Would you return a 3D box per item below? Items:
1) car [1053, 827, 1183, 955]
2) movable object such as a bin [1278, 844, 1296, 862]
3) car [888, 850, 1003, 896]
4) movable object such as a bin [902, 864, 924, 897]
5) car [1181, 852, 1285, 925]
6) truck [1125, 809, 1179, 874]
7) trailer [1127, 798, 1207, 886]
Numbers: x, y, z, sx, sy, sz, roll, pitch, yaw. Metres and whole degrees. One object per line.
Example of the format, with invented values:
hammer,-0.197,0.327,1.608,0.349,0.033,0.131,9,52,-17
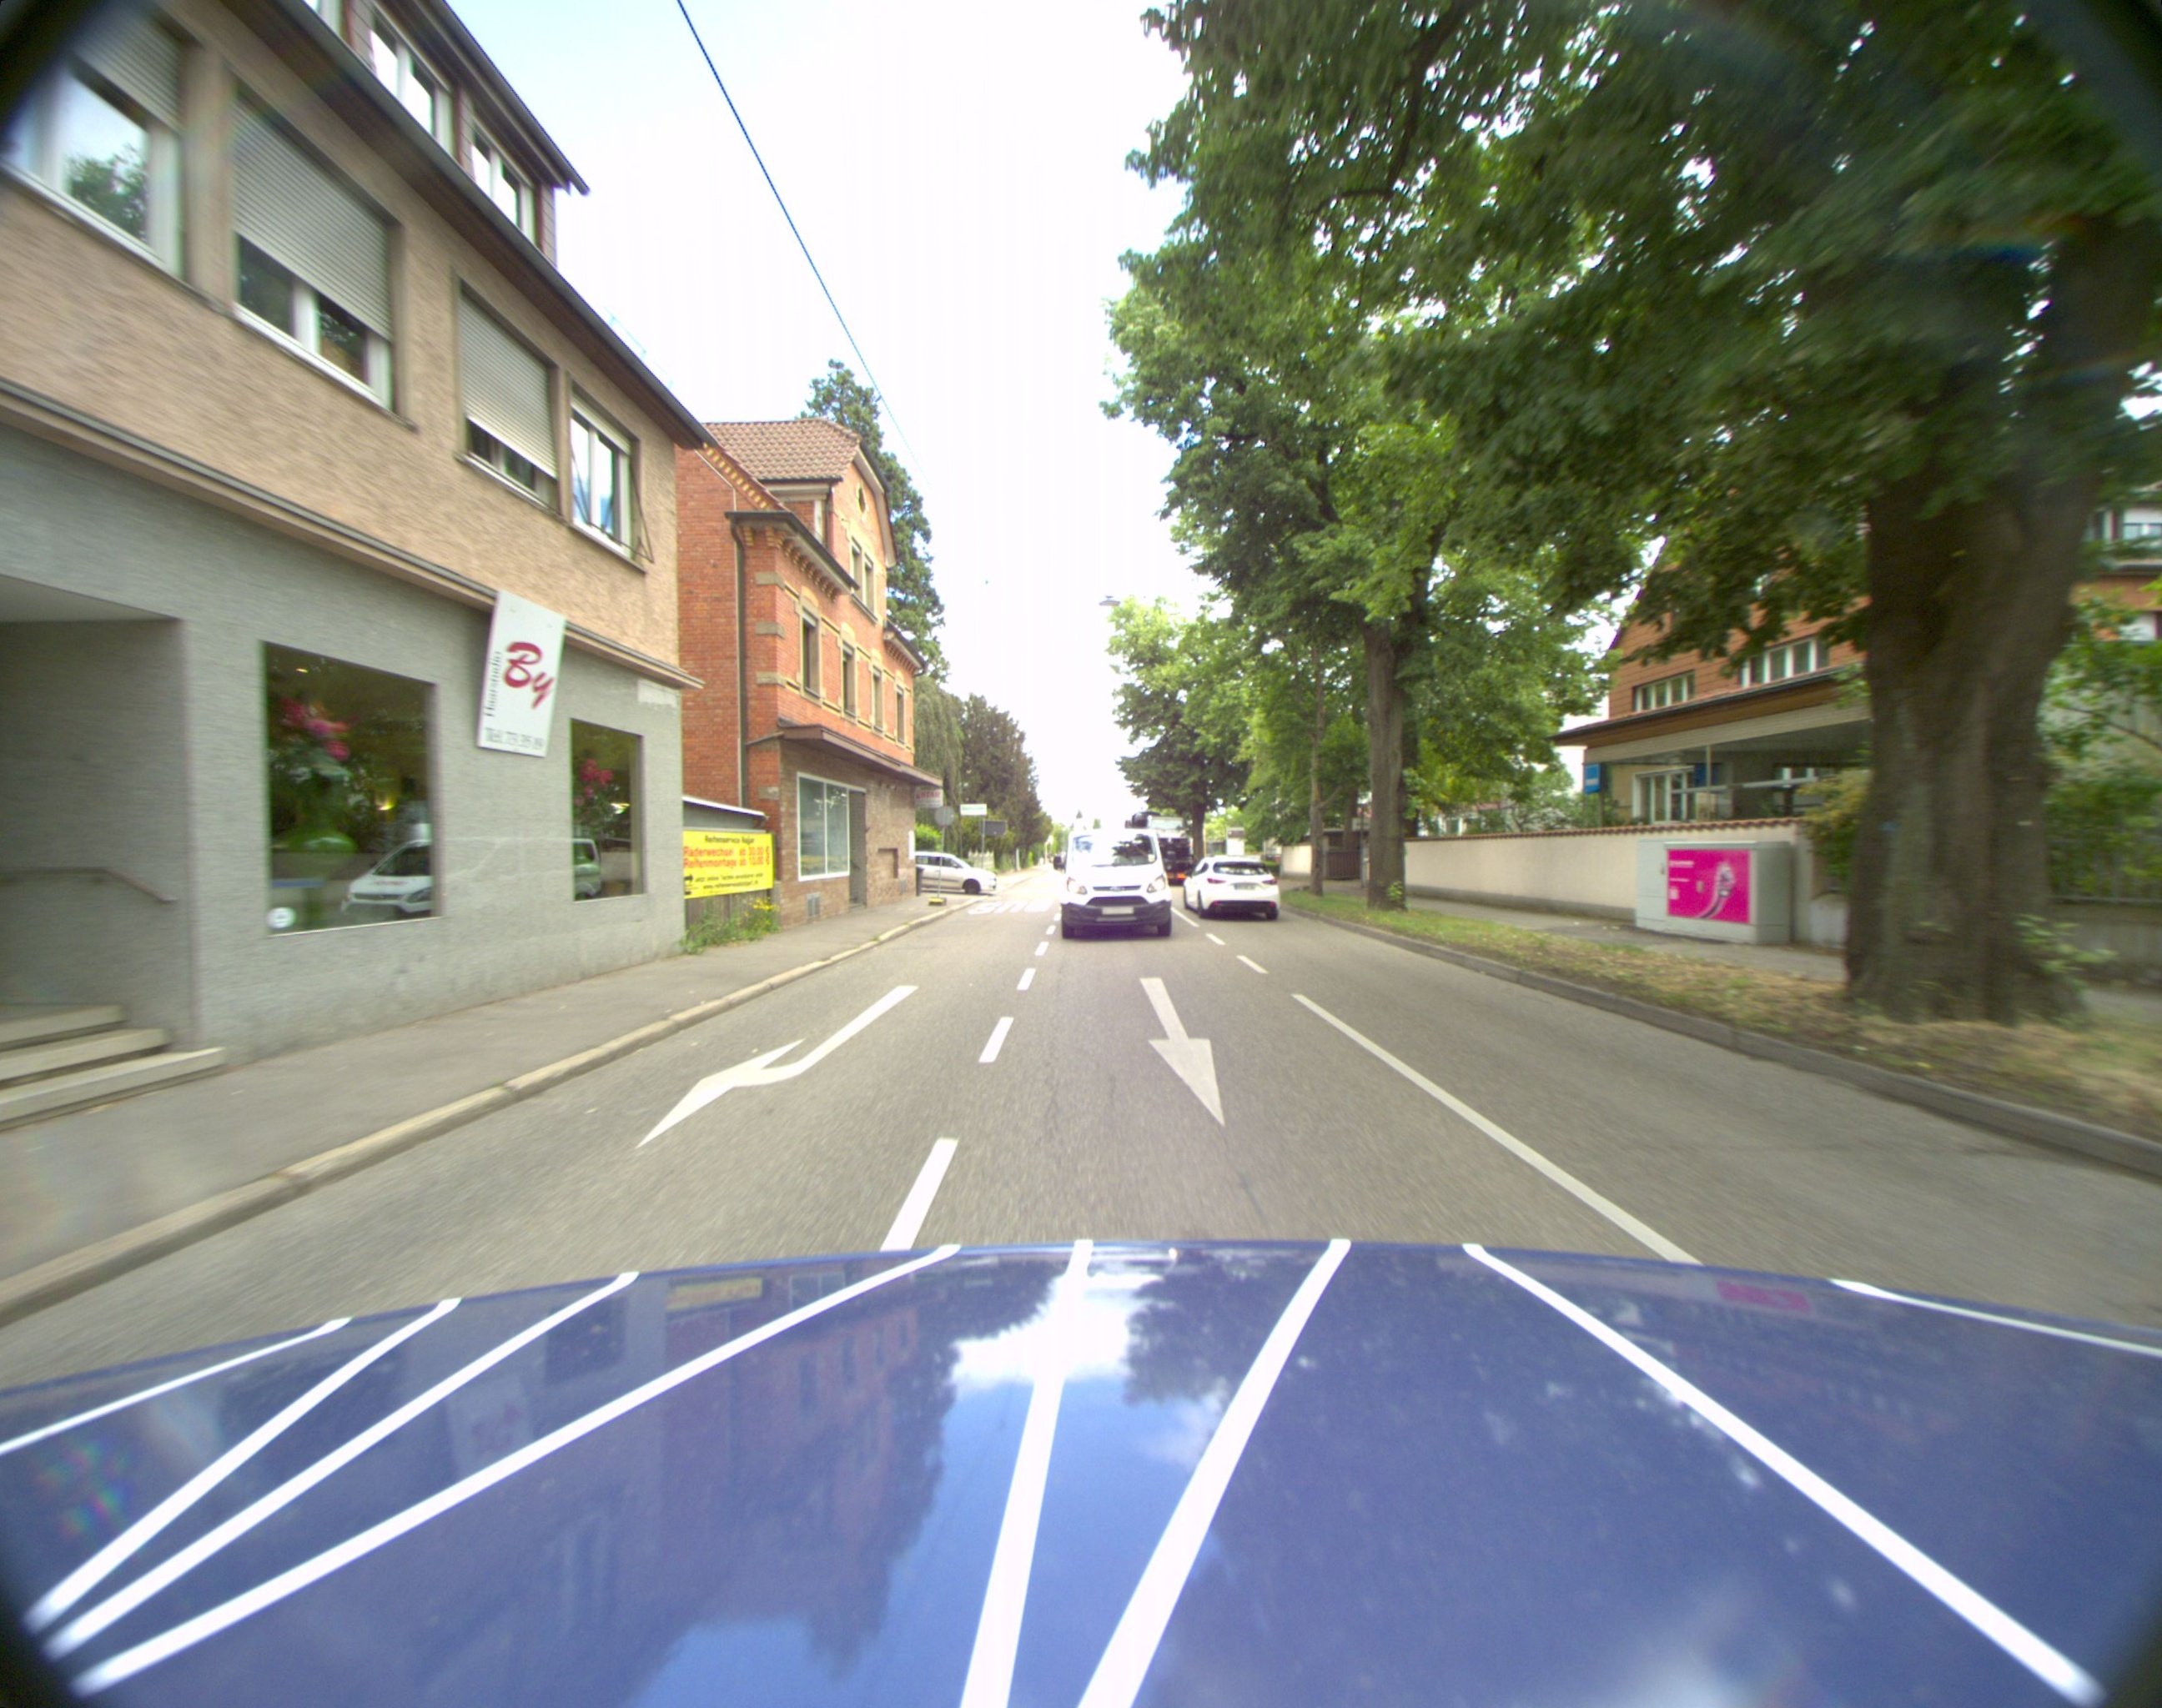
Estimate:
car,0.580,0.538,14.880,1.999,1.961,5.713,-2,1,0
movable object such as a bin,17.260,-0.089,63.678,1.301,1.457,0.992,-2,2,1
car,-5.084,0.682,28.895,4.039,1.462,1.600,3,1,-1
movable object such as a bin,-5.717,0.897,25.881,0.608,1.094,0.622,1,2,1
car,3.592,0.756,18.690,1.771,1.461,4.226,2,1,1
truck,4.421,-0.822,48.881,2.850,3.761,7.668,-2,1,1
trailer,4.280,-0.672,41.019,2.865,3.786,14.388,-2,1,1
